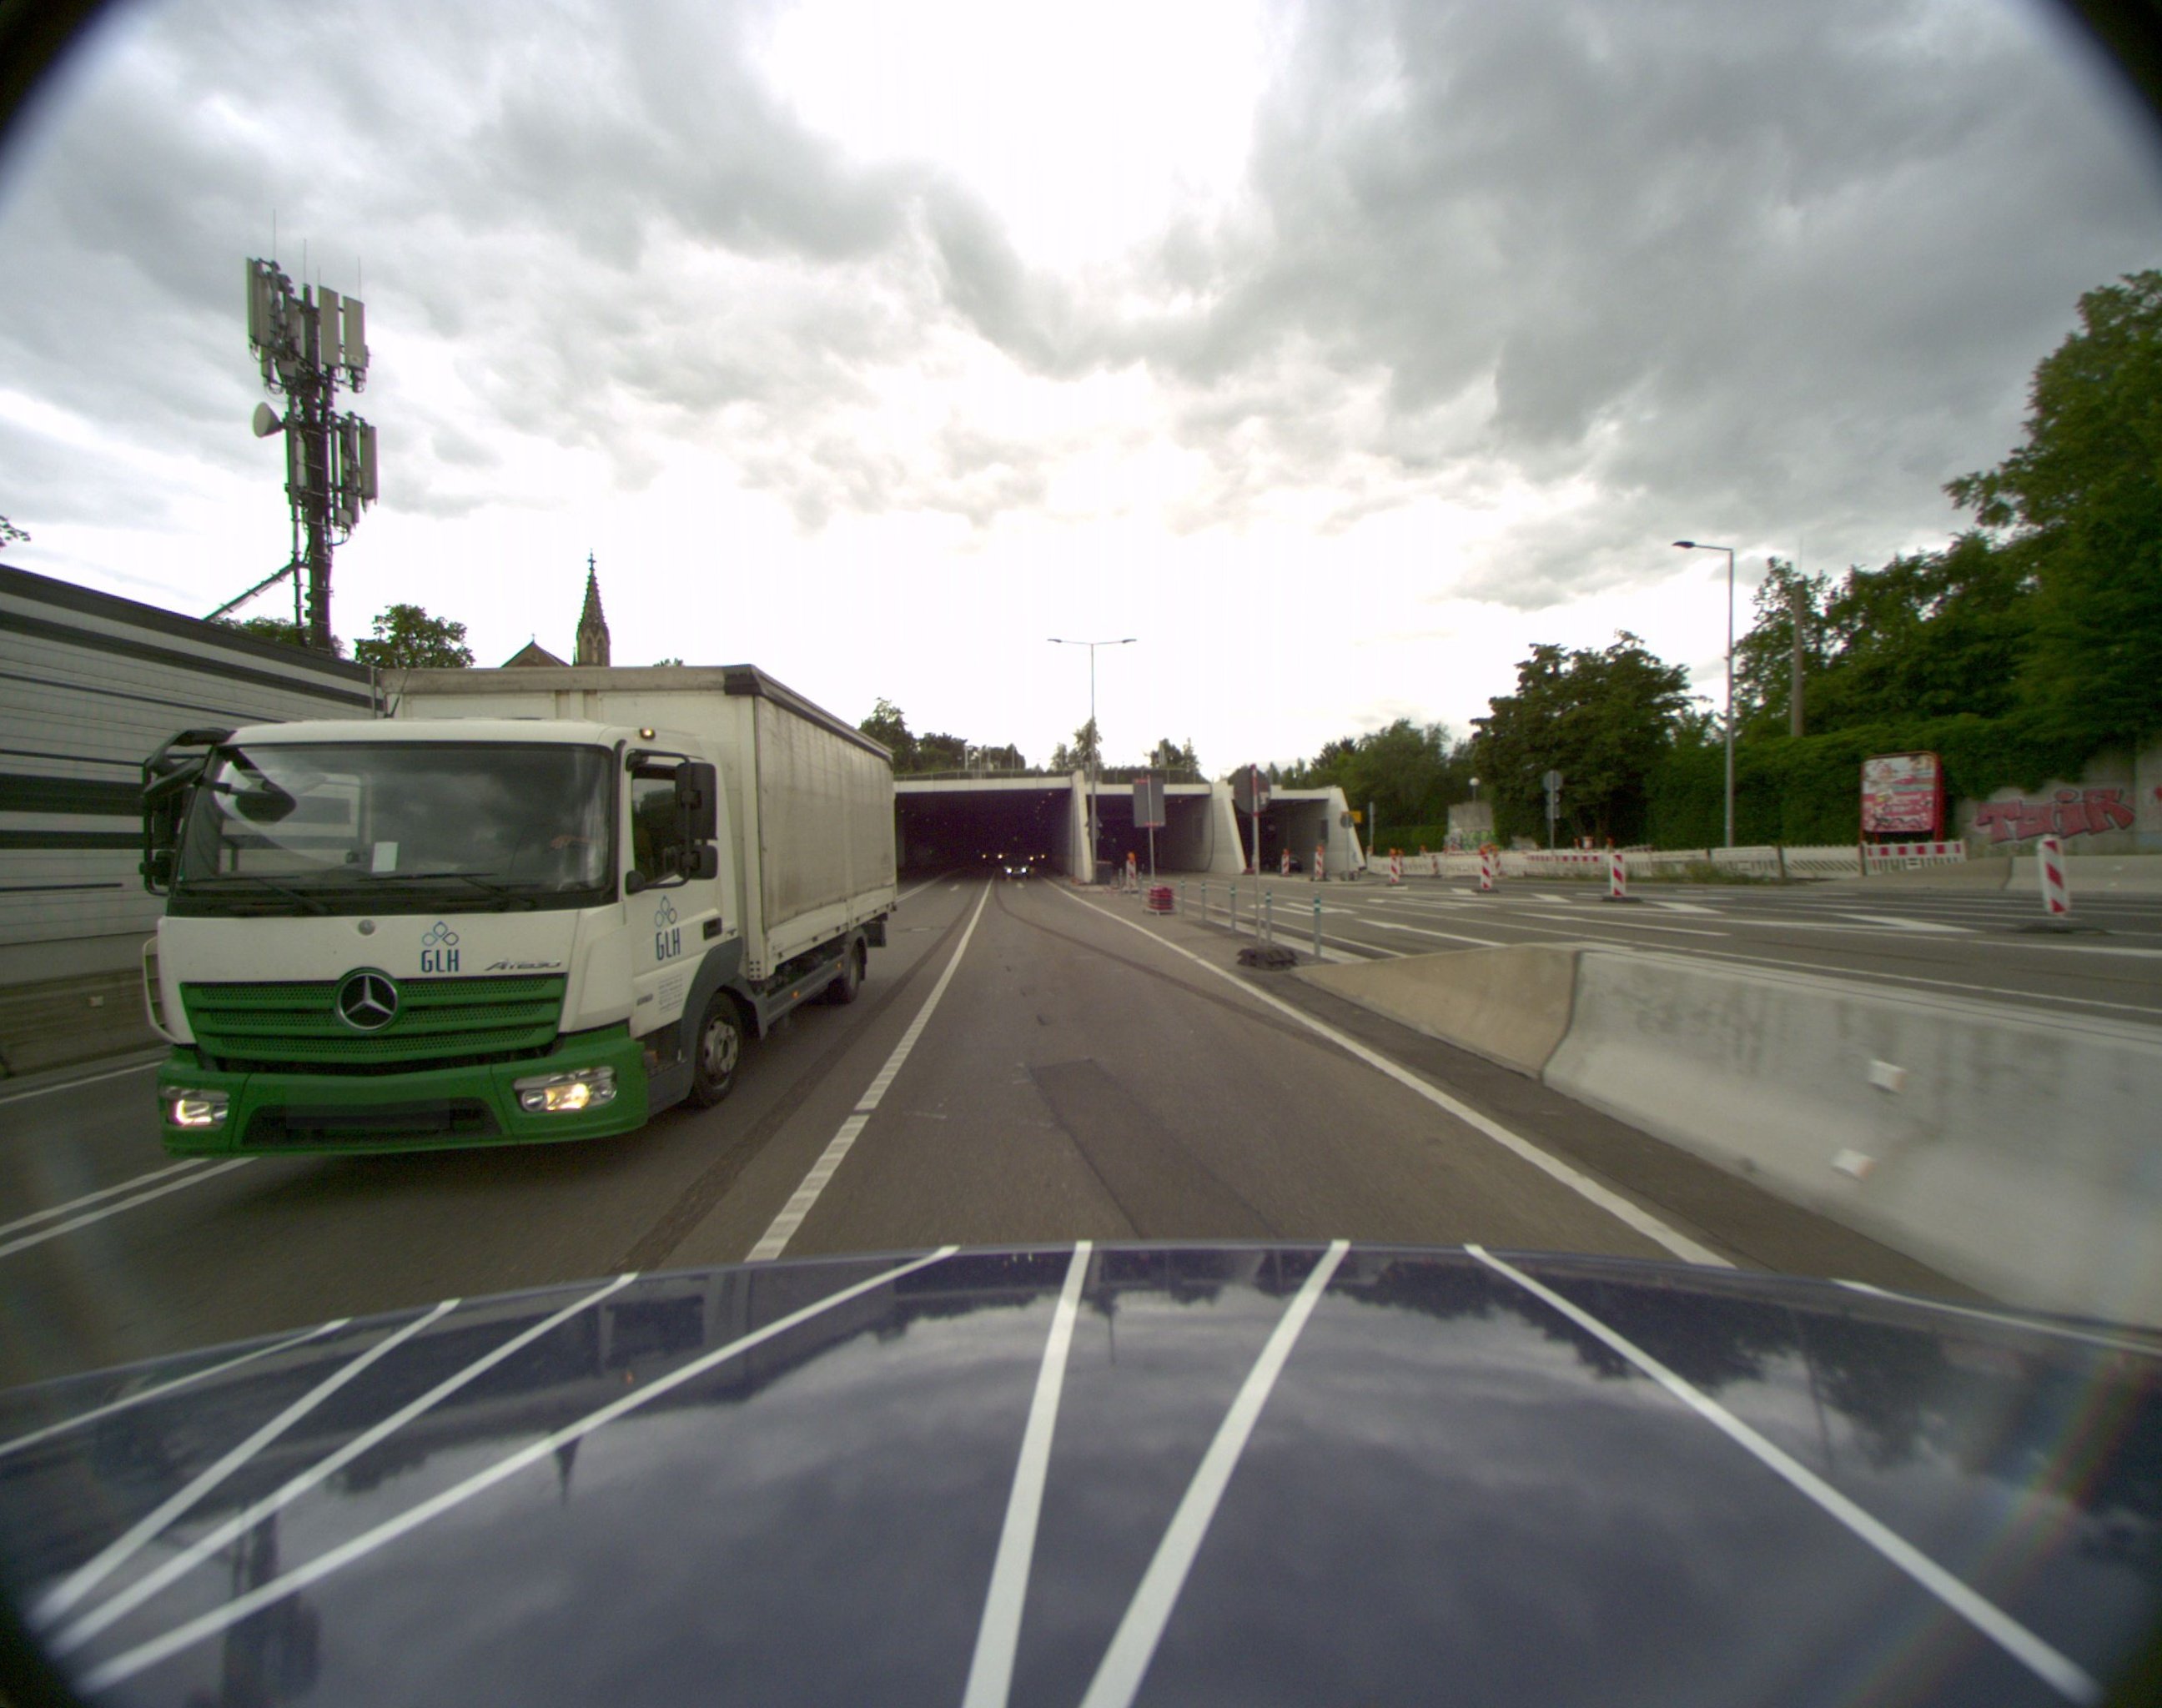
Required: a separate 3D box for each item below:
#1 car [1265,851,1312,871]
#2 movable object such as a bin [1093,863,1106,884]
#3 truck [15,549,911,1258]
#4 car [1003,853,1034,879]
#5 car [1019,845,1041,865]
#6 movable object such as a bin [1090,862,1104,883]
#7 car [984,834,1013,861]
[{"bbox_3d":[15.082,0.481,55.554,1.869,1.342,4.193,-2,1,-7],"label":"car"},{"bbox_3d":[0.903,0.938,36.647,0.490,1.011,0.423,-3,1,-11],"label":"movable object such as a bin"},{"bbox_3d":[-3.629,0.187,7.217,2.637,3.220,7.413,-1,1,-3],"label":"truck"},{"bbox_3d":[-3.836,0.707,47.271,1.722,1.455,3.999,-1,1,-2],"label":"car"},{"bbox_3d":[-5.358,0.117,79.941,1.999,2.002,3.999,-2,0,-1],"label":"car"},{"bbox_3d":[0.795,0.907,37.135,0.554,1.003,0.546,-3,1,-9],"label":"movable object such as a bin"},{"bbox_3d":[-8.703,-0.679,80.862,2.560,2.752,7.348,-1,1,-2],"label":"car"}]
